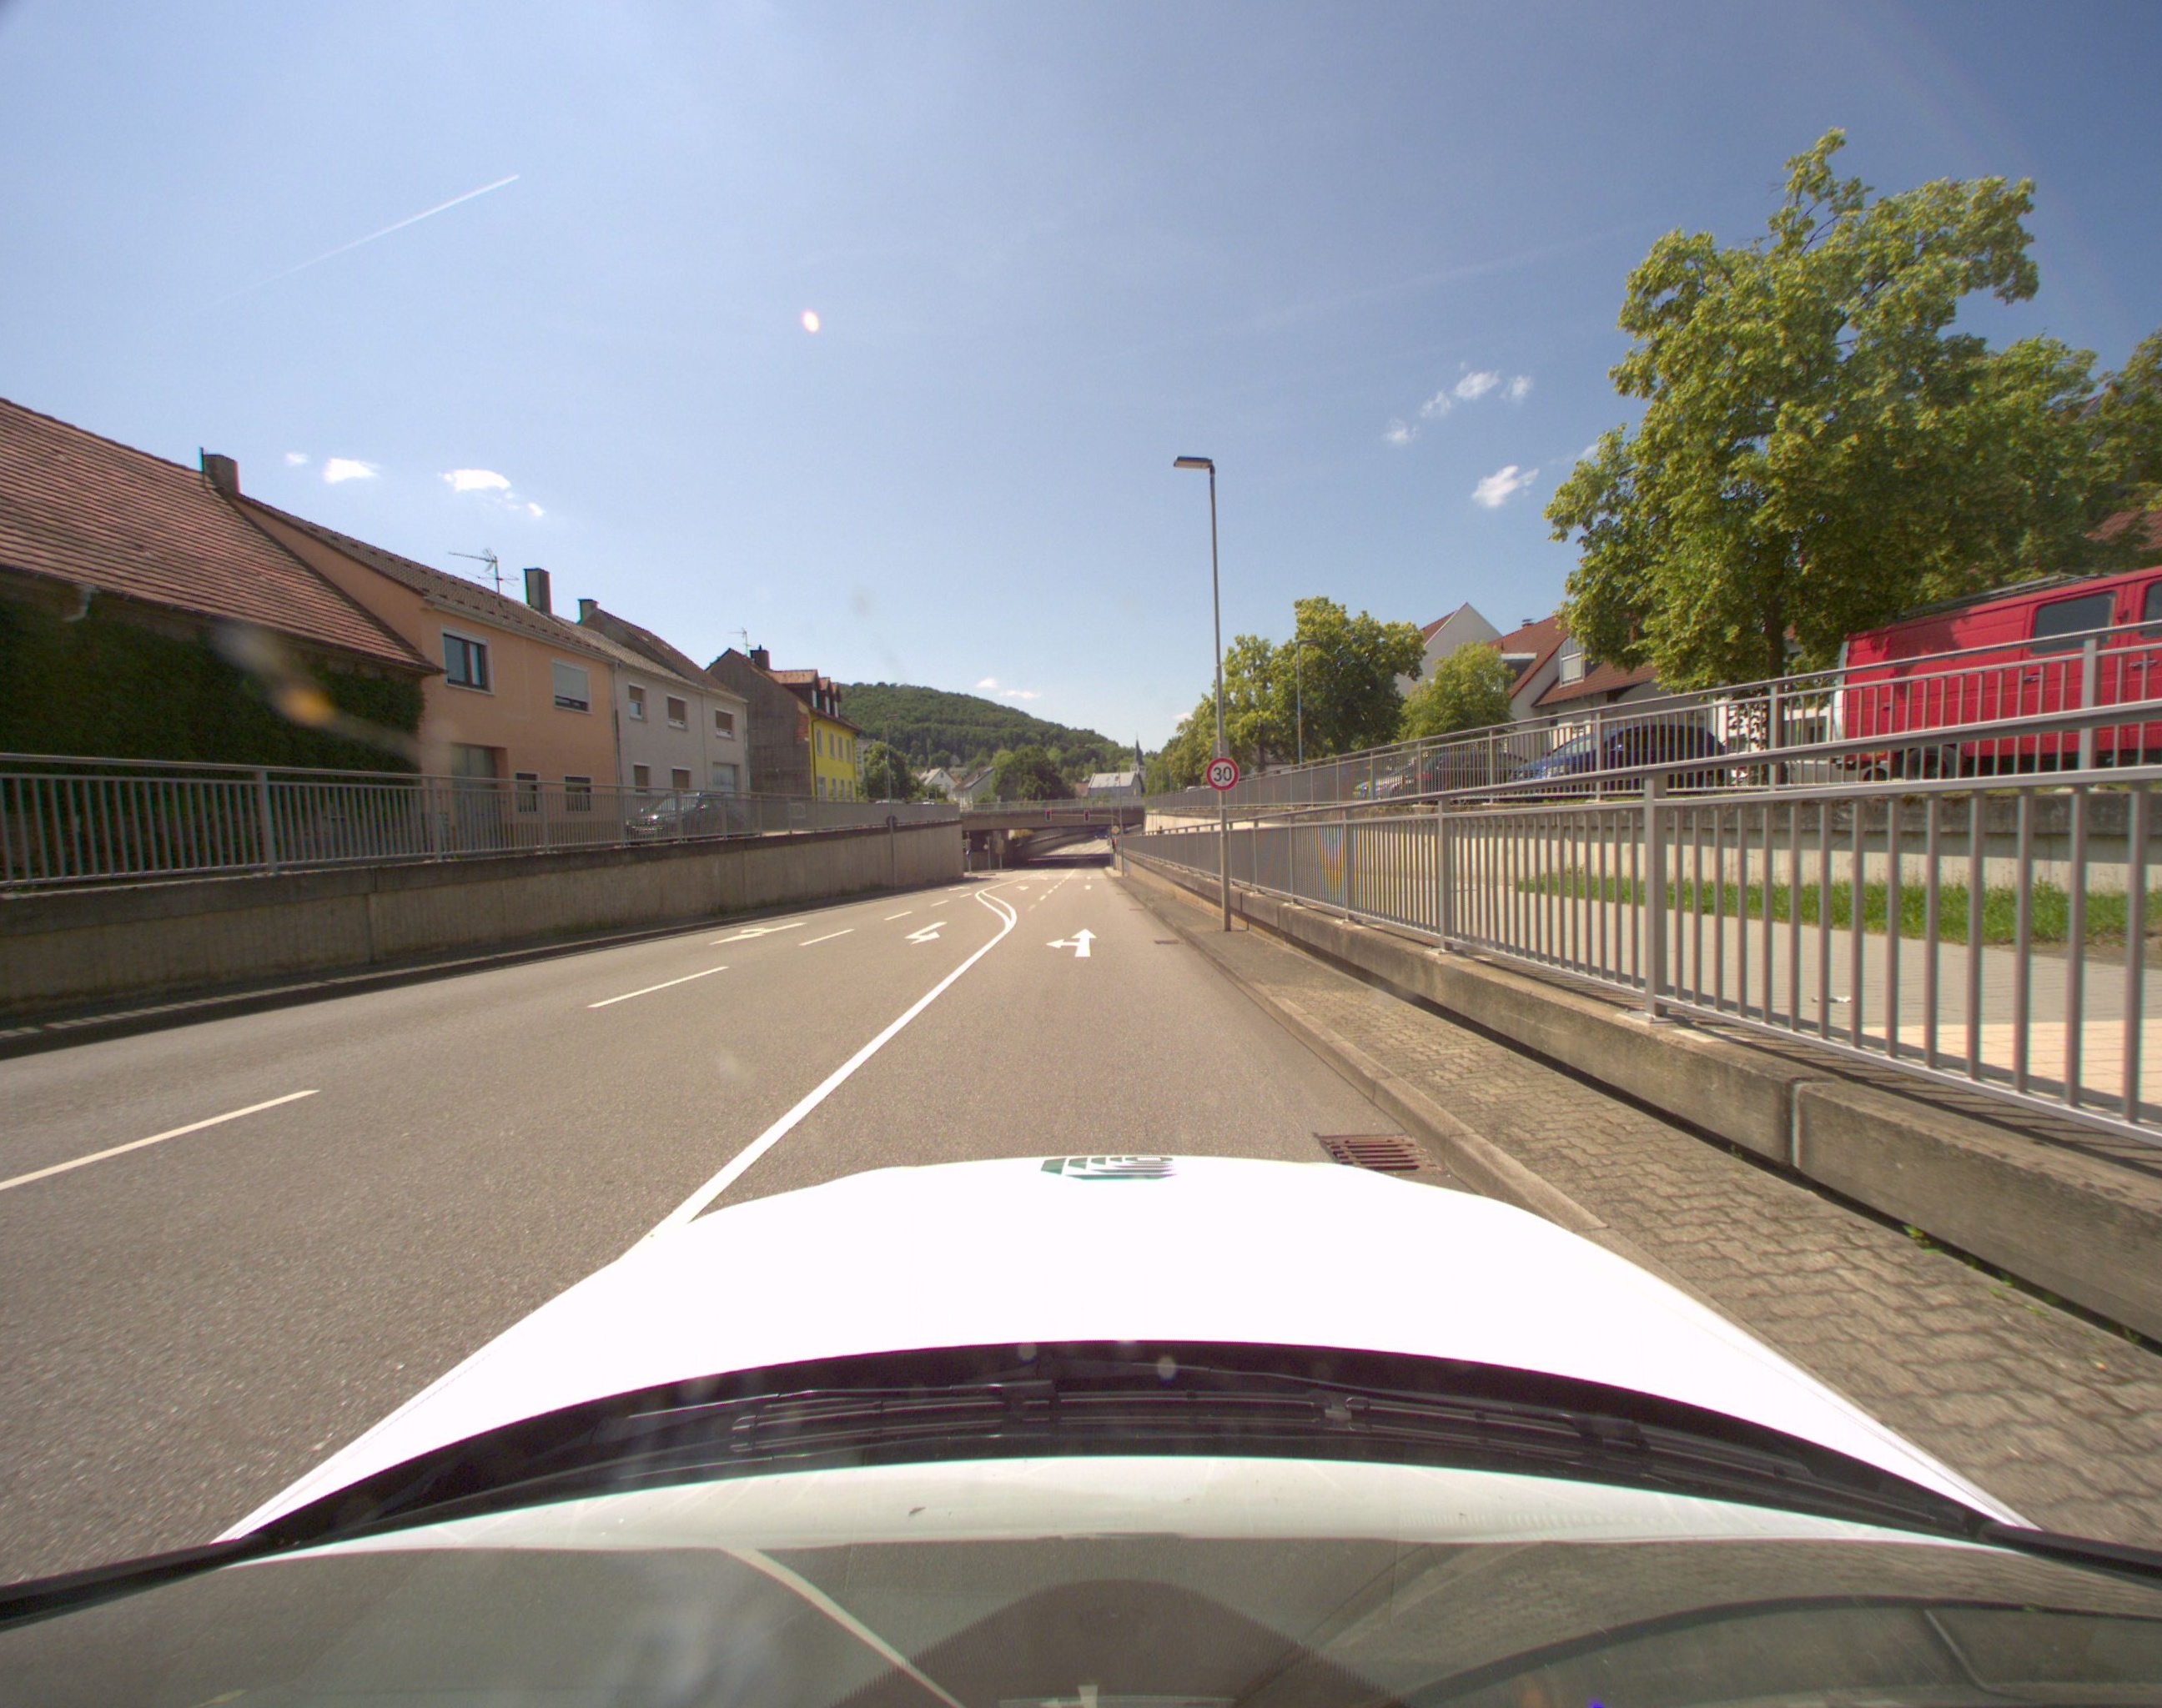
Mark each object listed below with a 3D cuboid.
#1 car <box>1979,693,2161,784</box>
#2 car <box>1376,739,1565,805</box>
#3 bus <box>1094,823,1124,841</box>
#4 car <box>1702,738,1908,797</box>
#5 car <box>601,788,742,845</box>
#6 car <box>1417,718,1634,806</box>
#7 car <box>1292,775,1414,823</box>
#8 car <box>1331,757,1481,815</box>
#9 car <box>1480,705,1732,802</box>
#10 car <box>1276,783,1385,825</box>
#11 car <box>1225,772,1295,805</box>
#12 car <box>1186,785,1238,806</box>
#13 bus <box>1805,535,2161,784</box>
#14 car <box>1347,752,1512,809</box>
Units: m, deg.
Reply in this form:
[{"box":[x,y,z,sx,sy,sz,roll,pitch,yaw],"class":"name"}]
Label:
[{"box":[21.875,-2.382,17.126,3.975,1.629,1.862,0,0,-1],"class":"car"},{"box":[9.893,-2.071,20.893,3.973,1.307,1.773,-3,0,1],"class":"car"},{"box":[5.539,-4.287,156.336,2.561,3.172,12.435,-1,2,17],"class":"bus"},{"box":[21.753,-2.575,24.603,4.469,1.479,2.001,-3,3,1],"class":"car"},{"box":[-11.306,-1.027,22.866,1.780,1.405,4.391,-1,2,-1],"class":"car"},{"box":[10.053,-2.053,18.598,3.978,1.632,1.771,-3,0,-3],"class":"car"},{"box":[10.007,-2.017,30.195,3.970,1.555,1.726,-1,0,3],"class":"car"},{"box":[10.018,-2.075,25.301,3.970,1.555,1.726,-1,0,3],"class":"car"},{"box":[10.296,-1.918,16.110,3.986,1.629,1.857,0,0,-9],"class":"car"},{"box":[10.185,-2.032,33.412,3.970,1.555,1.726,-1,0,3],"class":"car"},{"box":[10.873,-3.971,49.703,3.970,1.770,1.771,-1,0,3],"class":"car"},{"box":[10.445,-4.669,65.291,3.970,1.486,1.771,-1,0,3],"class":"car"},{"box":[11.827,-2.112,9.390,2.182,2.365,5.364,-3,4,-1],"class":"bus"},{"box":[9.806,-2.052,23.114,3.970,1.427,1.726,-1,2,3],"class":"car"}]
